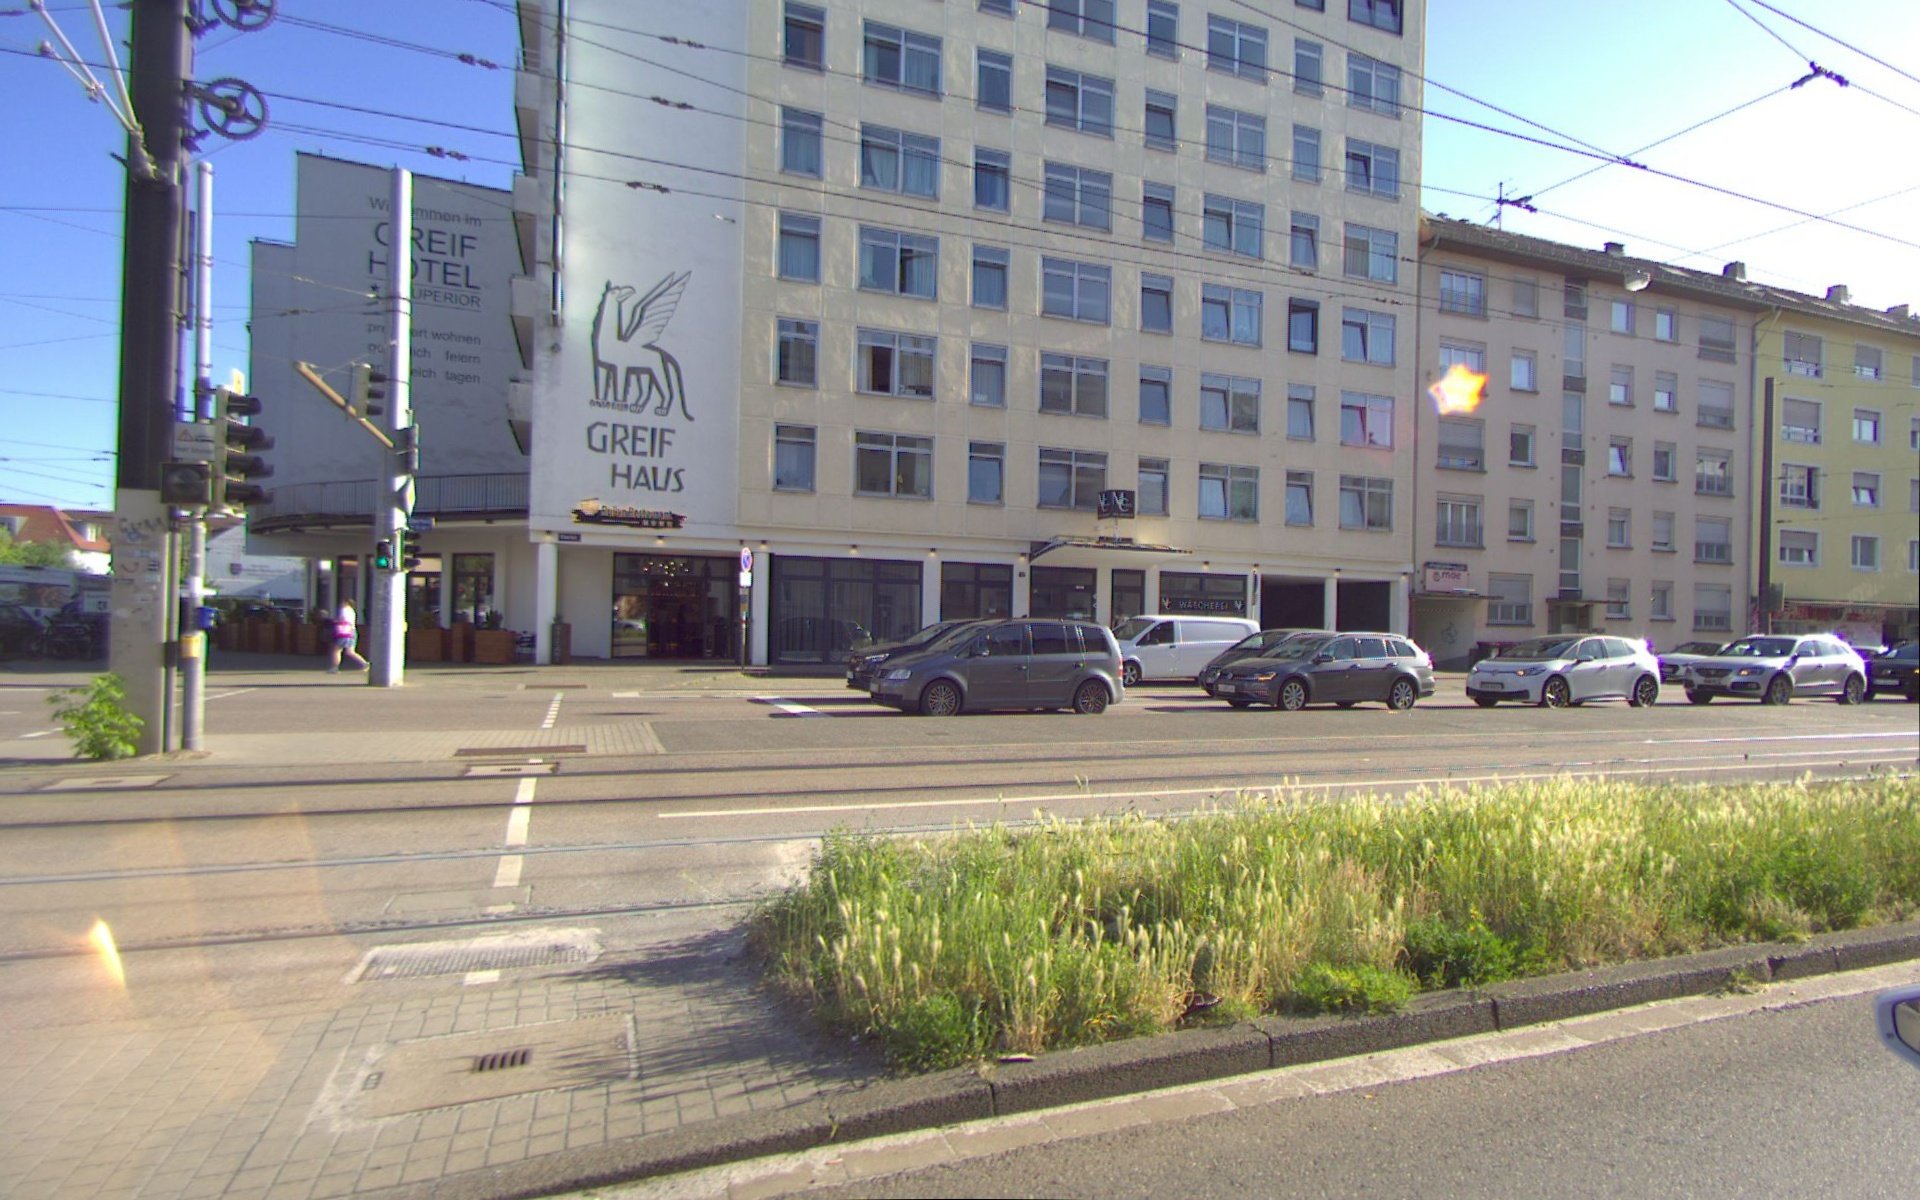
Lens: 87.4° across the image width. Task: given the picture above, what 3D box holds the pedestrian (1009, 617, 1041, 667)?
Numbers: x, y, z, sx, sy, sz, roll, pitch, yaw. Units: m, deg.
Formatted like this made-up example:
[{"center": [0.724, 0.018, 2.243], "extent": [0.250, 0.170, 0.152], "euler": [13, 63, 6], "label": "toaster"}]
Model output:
[{"center": [1.865, 1.195, 28.886], "extent": [0.525, 1.394, 0.677], "euler": [5, -3, -42], "label": "pedestrian"}]

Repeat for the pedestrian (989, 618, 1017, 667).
[{"center": [1.264, 1.245, 29.404], "extent": [0.596, 1.394, 0.495], "euler": [4, -3, -35], "label": "pedestrian"}]

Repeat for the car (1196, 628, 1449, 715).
[{"center": [6.996, 1.374, 19.404], "extent": [4.472, 1.510, 1.816], "euler": [2, -2, -19], "label": "car"}]

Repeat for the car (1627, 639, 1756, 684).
[{"center": [25.669, 2.156, 35.264], "extent": [3.994, 1.454, 1.774], "euler": [2, -2, -20], "label": "car"}]

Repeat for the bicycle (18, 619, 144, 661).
[{"center": [-22.205, 1.001, 25.444], "extent": [2.227, 1.015, 0.851], "euler": [0, -1, -25], "label": "bicycle"}]

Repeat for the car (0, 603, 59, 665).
[{"center": [-24.558, 0.809, 25.306], "extent": [1.641, 1.450, 3.863], "euler": [4, -3, -26], "label": "car"}]

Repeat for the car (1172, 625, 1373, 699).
[{"center": [7.385, 1.463, 23.735], "extent": [4.261, 1.596, 1.979], "euler": [3, -2, -22], "label": "car"}]

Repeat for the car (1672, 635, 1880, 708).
[{"center": [19.369, 1.659, 23.847], "extent": [4.563, 1.597, 1.862], "euler": [1, -3, -22], "label": "car"}]

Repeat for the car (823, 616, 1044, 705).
[{"center": [-0.528, 1.200, 19.859], "extent": [3.988, 1.596, 1.786], "euler": [3, -2, -22], "label": "car"}]

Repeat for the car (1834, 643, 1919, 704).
[{"center": [25.760, 1.965, 26.783], "extent": [4.504, 1.500, 1.959], "euler": [3, -2, -23], "label": "car"}]

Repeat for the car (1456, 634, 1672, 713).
[{"center": [12.853, 1.552, 21.373], "extent": [4.183, 1.535, 1.834], "euler": [3, -2, -23], "label": "car"}]

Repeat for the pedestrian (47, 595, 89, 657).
[{"center": [-24.534, 0.718, 27.632], "extent": [0.607, 1.675, 0.667], "euler": [4, -2, -26], "label": "pedestrian"}]

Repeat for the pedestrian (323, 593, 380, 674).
[{"center": [-13.740, 0.757, 22.700], "extent": [0.897, 1.769, 0.733], "euler": [4, -2, -23], "label": "pedestrian"}]

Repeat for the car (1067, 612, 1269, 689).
[{"center": [5.769, 1.393, 27.882], "extent": [5.248, 1.894, 1.938], "euler": [2, 1, -21], "label": "car"}]

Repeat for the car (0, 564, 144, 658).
[{"center": [-26.555, 0.341, 29.857], "extent": [2.242, 2.514, 4.978], "euler": [3, -2, -24], "label": "car"}]

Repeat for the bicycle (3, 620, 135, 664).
[{"center": [-21.533, 0.998, 24.336], "extent": [2.227, 1.015, 0.851], "euler": [0, -1, -25], "label": "bicycle"}]

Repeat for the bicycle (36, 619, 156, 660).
[{"center": [-22.702, 1.023, 26.446], "extent": [2.227, 1.015, 0.851], "euler": [0, -1, -25], "label": "bicycle"}]

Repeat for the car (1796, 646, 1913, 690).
[{"center": [34.260, 2.579, 38.493], "extent": [3.743, 1.602, 1.829], "euler": [1, -2, -20], "label": "car"}]

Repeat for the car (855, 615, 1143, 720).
[{"center": [0.628, 1.127, 16.775], "extent": [4.385, 1.568, 1.928], "euler": [2, -2, -19], "label": "car"}]
